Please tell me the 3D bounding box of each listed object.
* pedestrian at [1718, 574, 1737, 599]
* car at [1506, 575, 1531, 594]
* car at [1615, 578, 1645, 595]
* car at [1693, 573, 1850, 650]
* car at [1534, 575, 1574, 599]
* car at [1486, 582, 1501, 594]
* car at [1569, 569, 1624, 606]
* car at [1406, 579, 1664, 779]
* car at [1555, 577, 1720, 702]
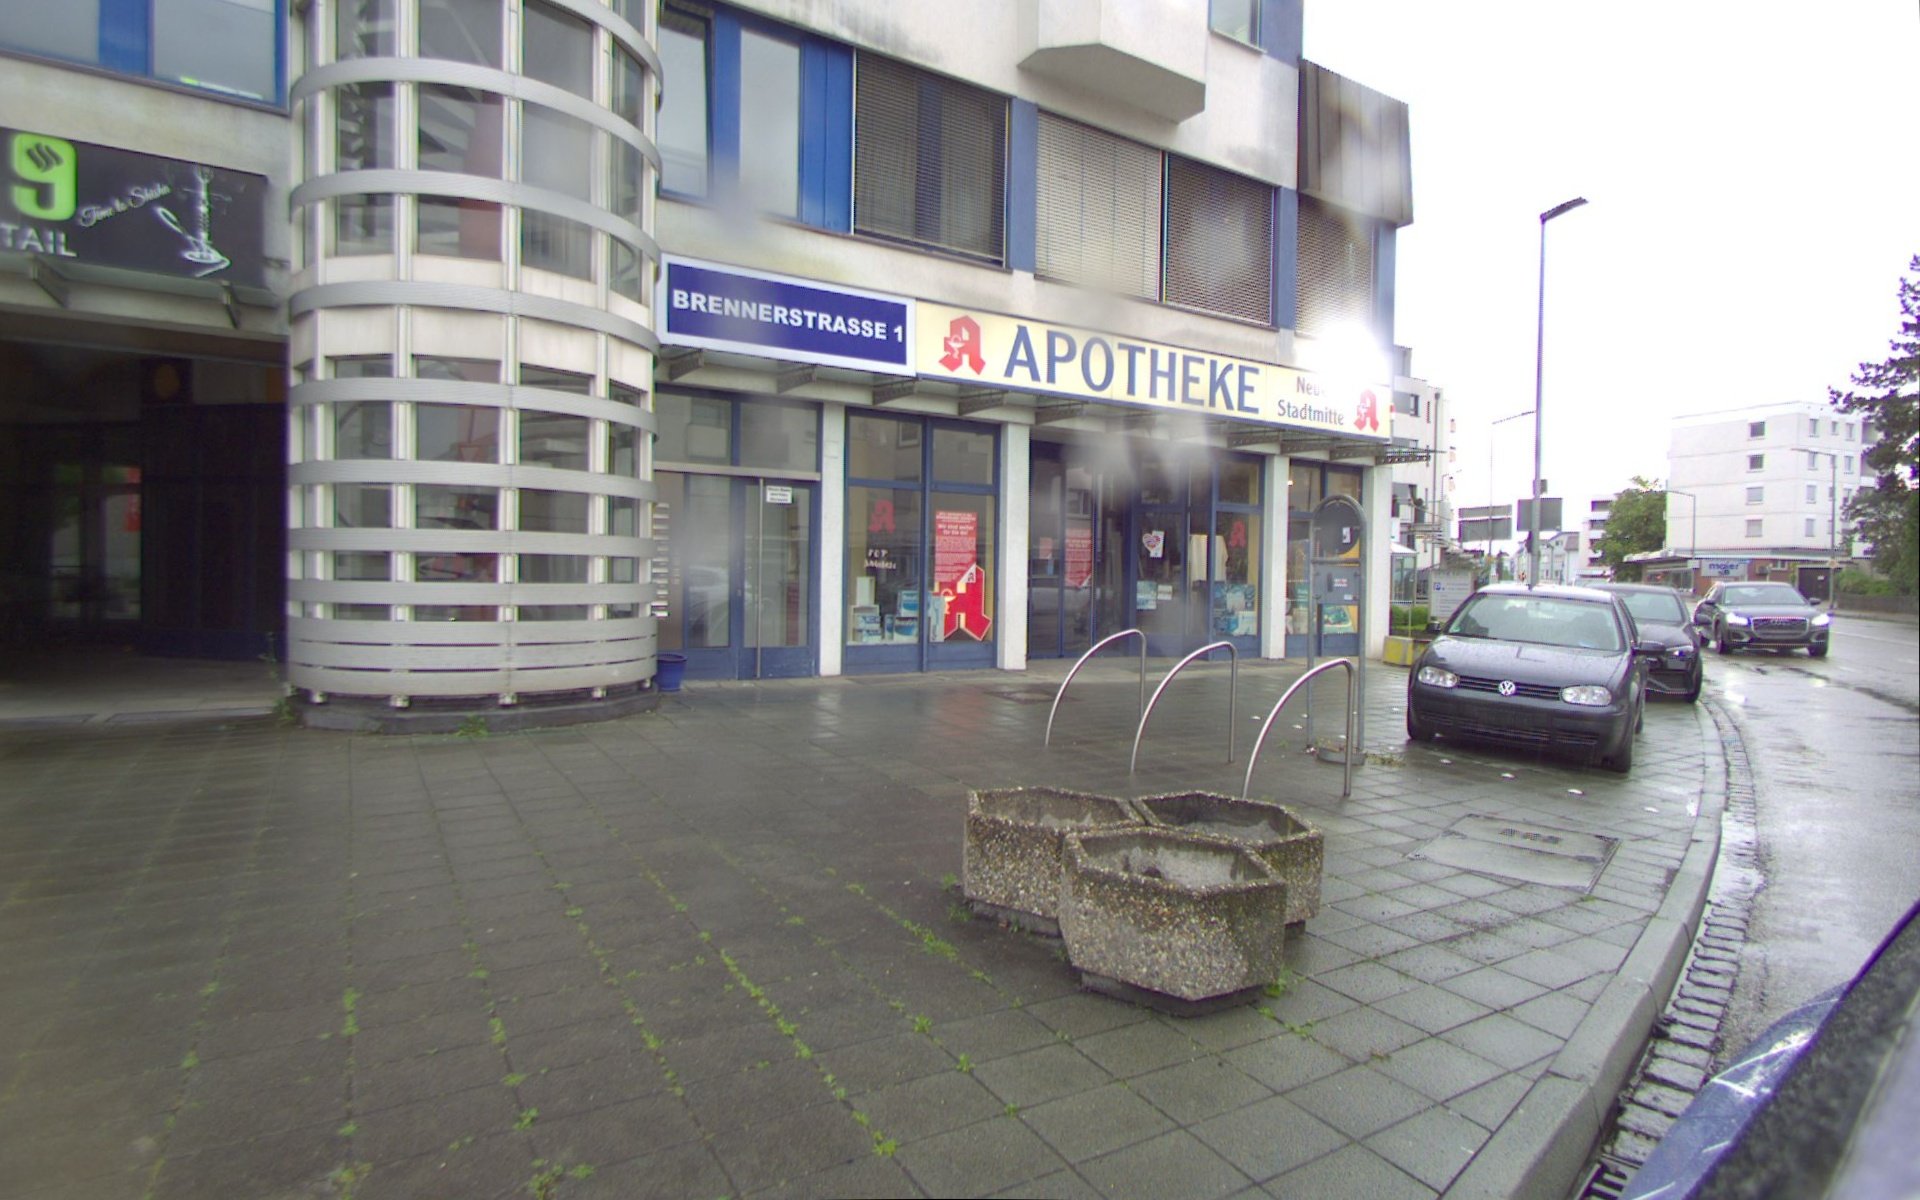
[{"bbox_3d":[56.423,-1.008,74.428,0.845,1.757,0.831,1,2,20],"label":"pedestrian"},{"bbox_3d":[50.648,-1.409,91.790,1.982,1.635,3.960,-1,1,29],"label":"car"},{"bbox_3d":[59.421,-1.217,89.848,1.855,1.454,3.704,1,2,28],"label":"car"},{"bbox_3d":[17.328,0.174,21.814,1.717,1.462,4.013,0,2,25],"label":"car"},{"bbox_3d":[38.461,-0.870,65.595,1.783,1.385,3.941,1,3,25],"label":"car"},{"bbox_3d":[76.250,-1.684,144.668,1.728,1.660,3.963,1,2,27],"label":"car"},{"bbox_3d":[28.164,-0.571,44.874,1.718,1.547,4.024,2,1,27],"label":"car"},{"bbox_3d":[5.487,0.544,9.440,1.646,1.388,3.683,5,4,36],"label":"car"},{"bbox_3d":[9.420,0.425,14.021,1.650,1.442,3.949,2,2,36],"label":"car"}]
